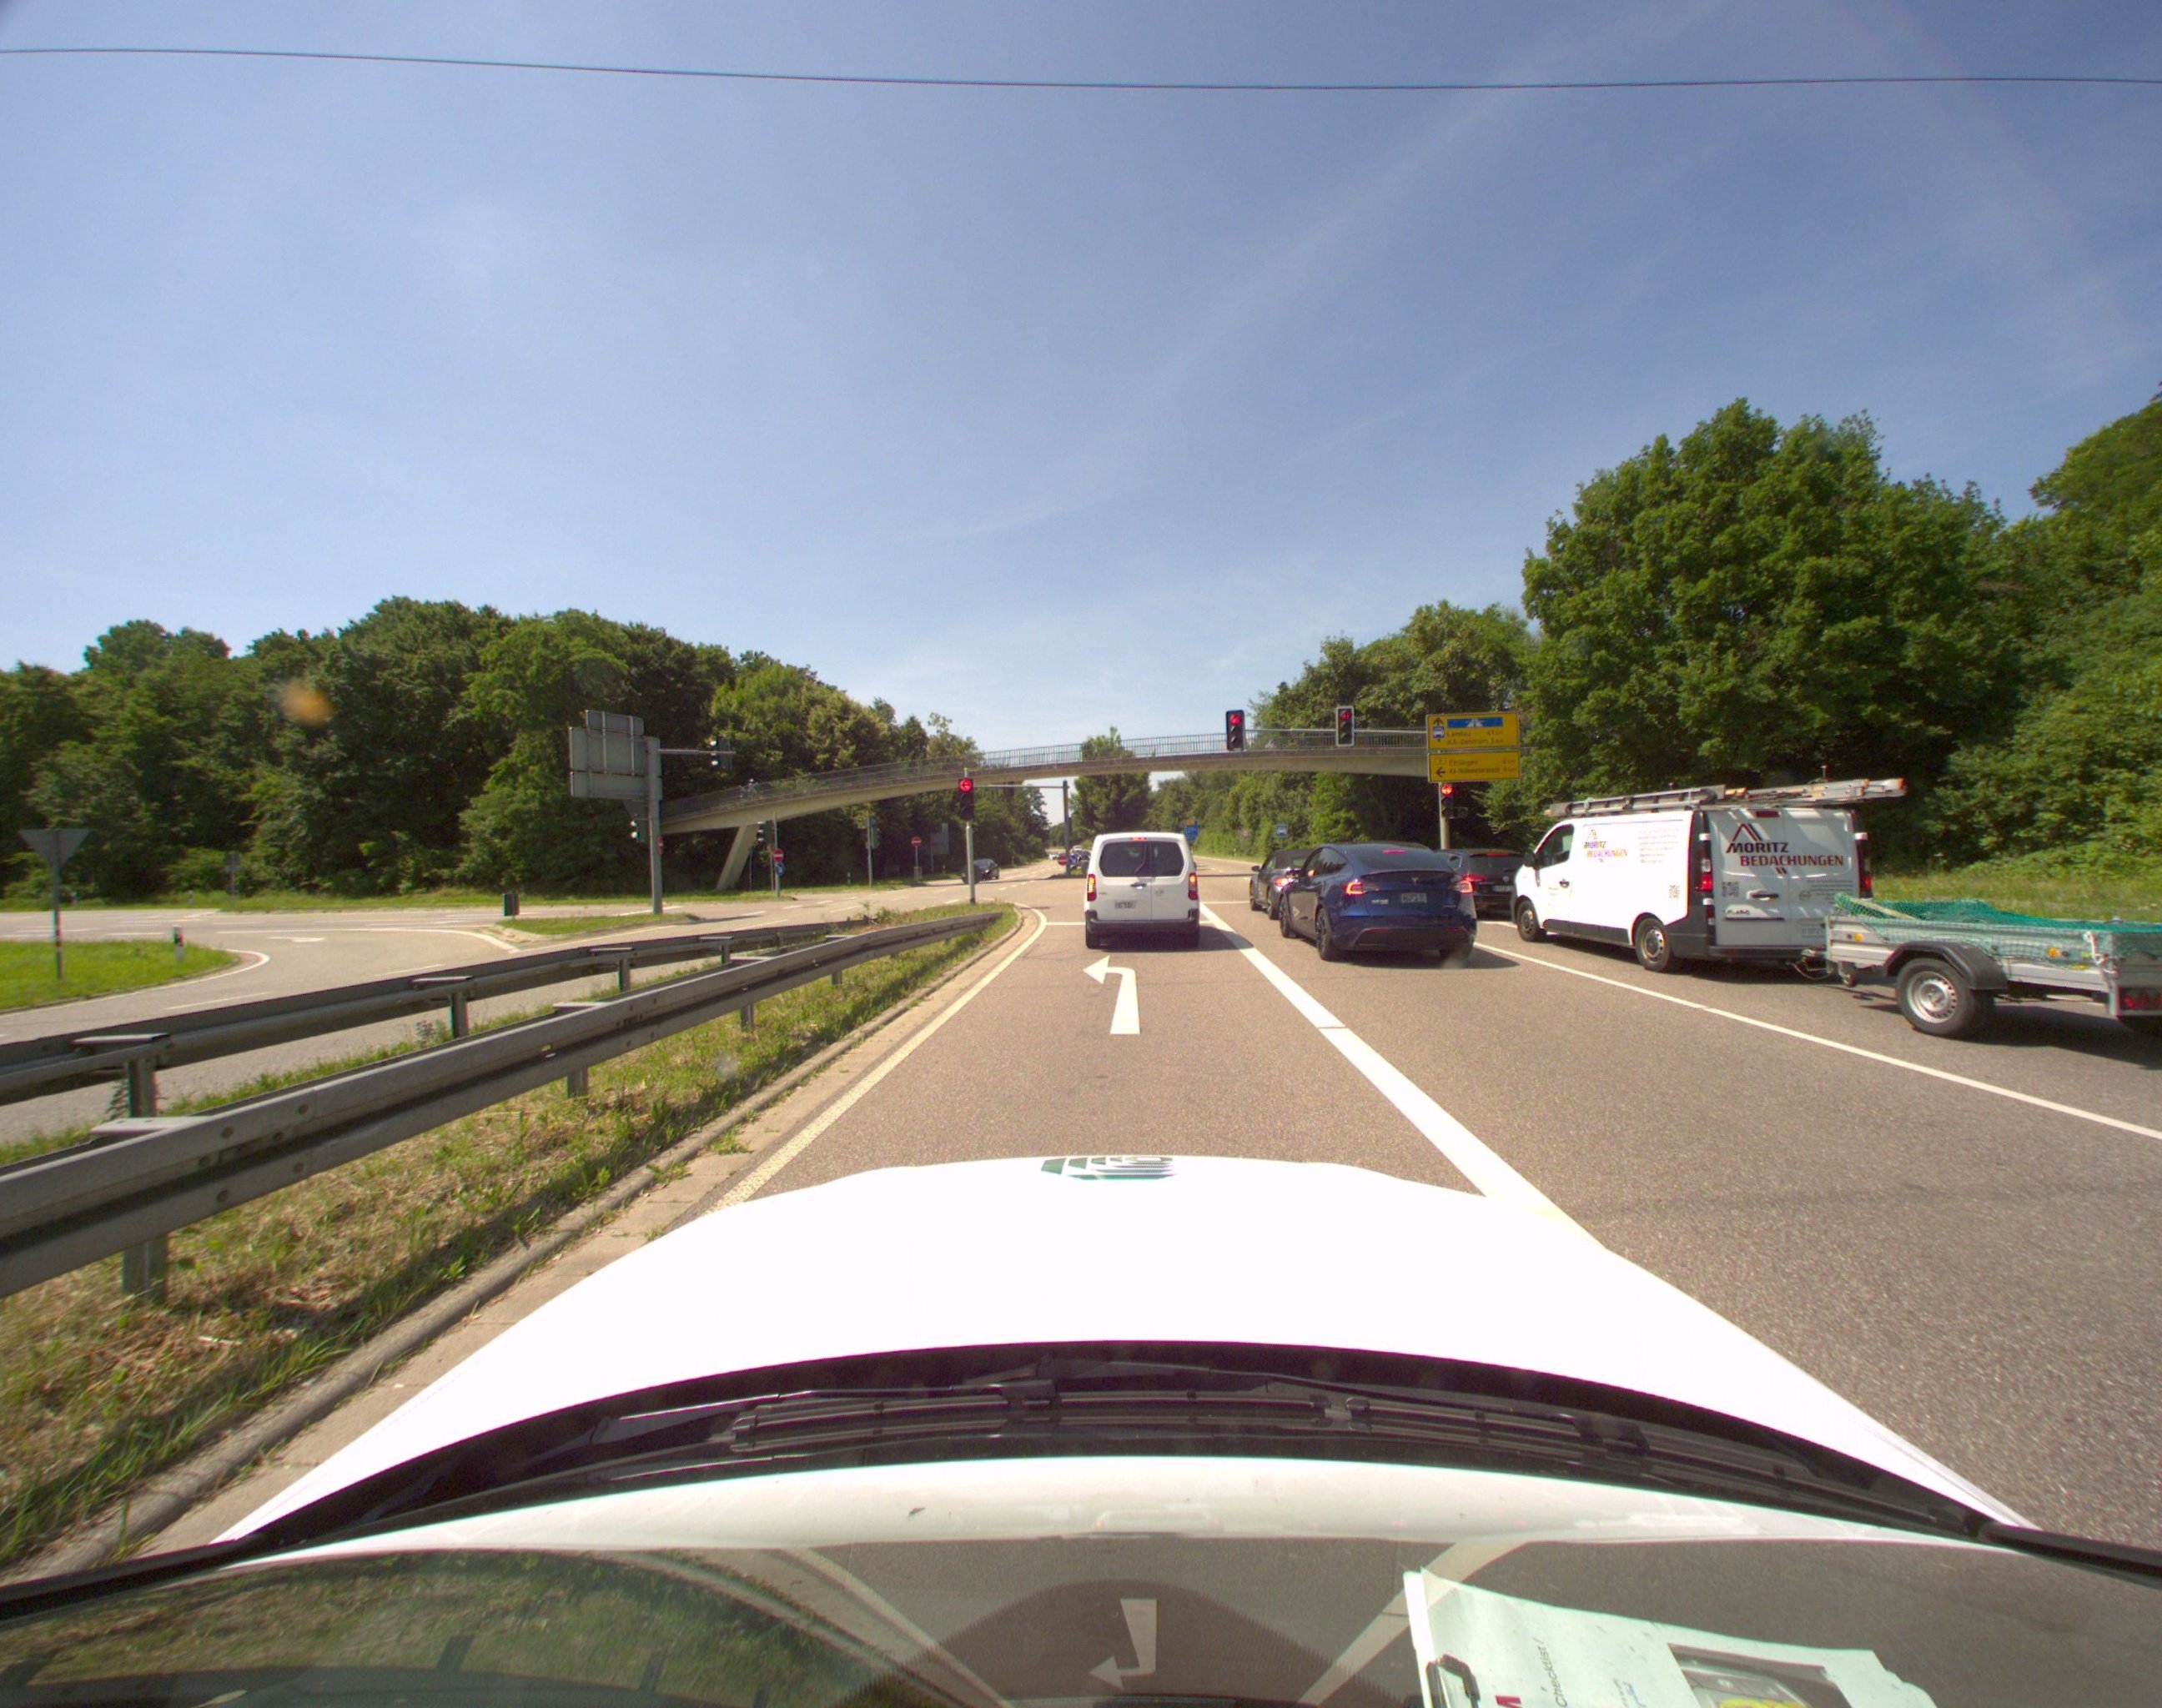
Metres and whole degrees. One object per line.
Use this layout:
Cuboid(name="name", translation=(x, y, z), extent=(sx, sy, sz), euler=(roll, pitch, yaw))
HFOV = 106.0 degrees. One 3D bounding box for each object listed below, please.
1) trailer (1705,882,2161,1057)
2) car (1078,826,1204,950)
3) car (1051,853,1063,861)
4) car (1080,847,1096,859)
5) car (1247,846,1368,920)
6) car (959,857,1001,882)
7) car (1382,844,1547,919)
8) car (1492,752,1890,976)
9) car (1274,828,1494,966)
Cuboid(name="trailer", translation=(7.438, 0.826, 7.050), extent=(1.698, 1.006, 3.327), euler=(-1, 0, 4))
Cuboid(name="car", translation=(1.016, 0.479, 14.088), extent=(1.841, 1.825, 3.985), euler=(-1, 1, 3))
Cuboid(name="car", translation=(-4.386, 0.521, 151.768), extent=(1.744, 1.406, 4.005), euler=(-3, 0, 4))
Cuboid(name="car", translation=(1.019, -0.132, 117.714), extent=(1.984, 1.684, 4.005), euler=(-1, -1, 5))
Cuboid(name="car", translation=(4.960, 0.565, 18.365), extent=(1.892, 1.477, 3.944), euler=(-1, 0, 4))
Cuboid(name="car", translation=(-6.940, 1.041, 56.171), extent=(1.999, 1.460, 4.060), euler=(-3, 0, 4))
Cuboid(name="car", translation=(8.339, 0.527, 18.179), extent=(1.891, 1.477, 4.386), euler=(-1, 0, 4))
Cuboid(name="car", translation=(7.725, 0.102, 11.161), extent=(1.924, 2.349, 5.081), euler=(-1, 0, 4))
Cuboid(name="car", translation=(4.182, 0.507, 12.085), extent=(1.891, 1.644, 4.526), euler=(-1, 0, 4))
